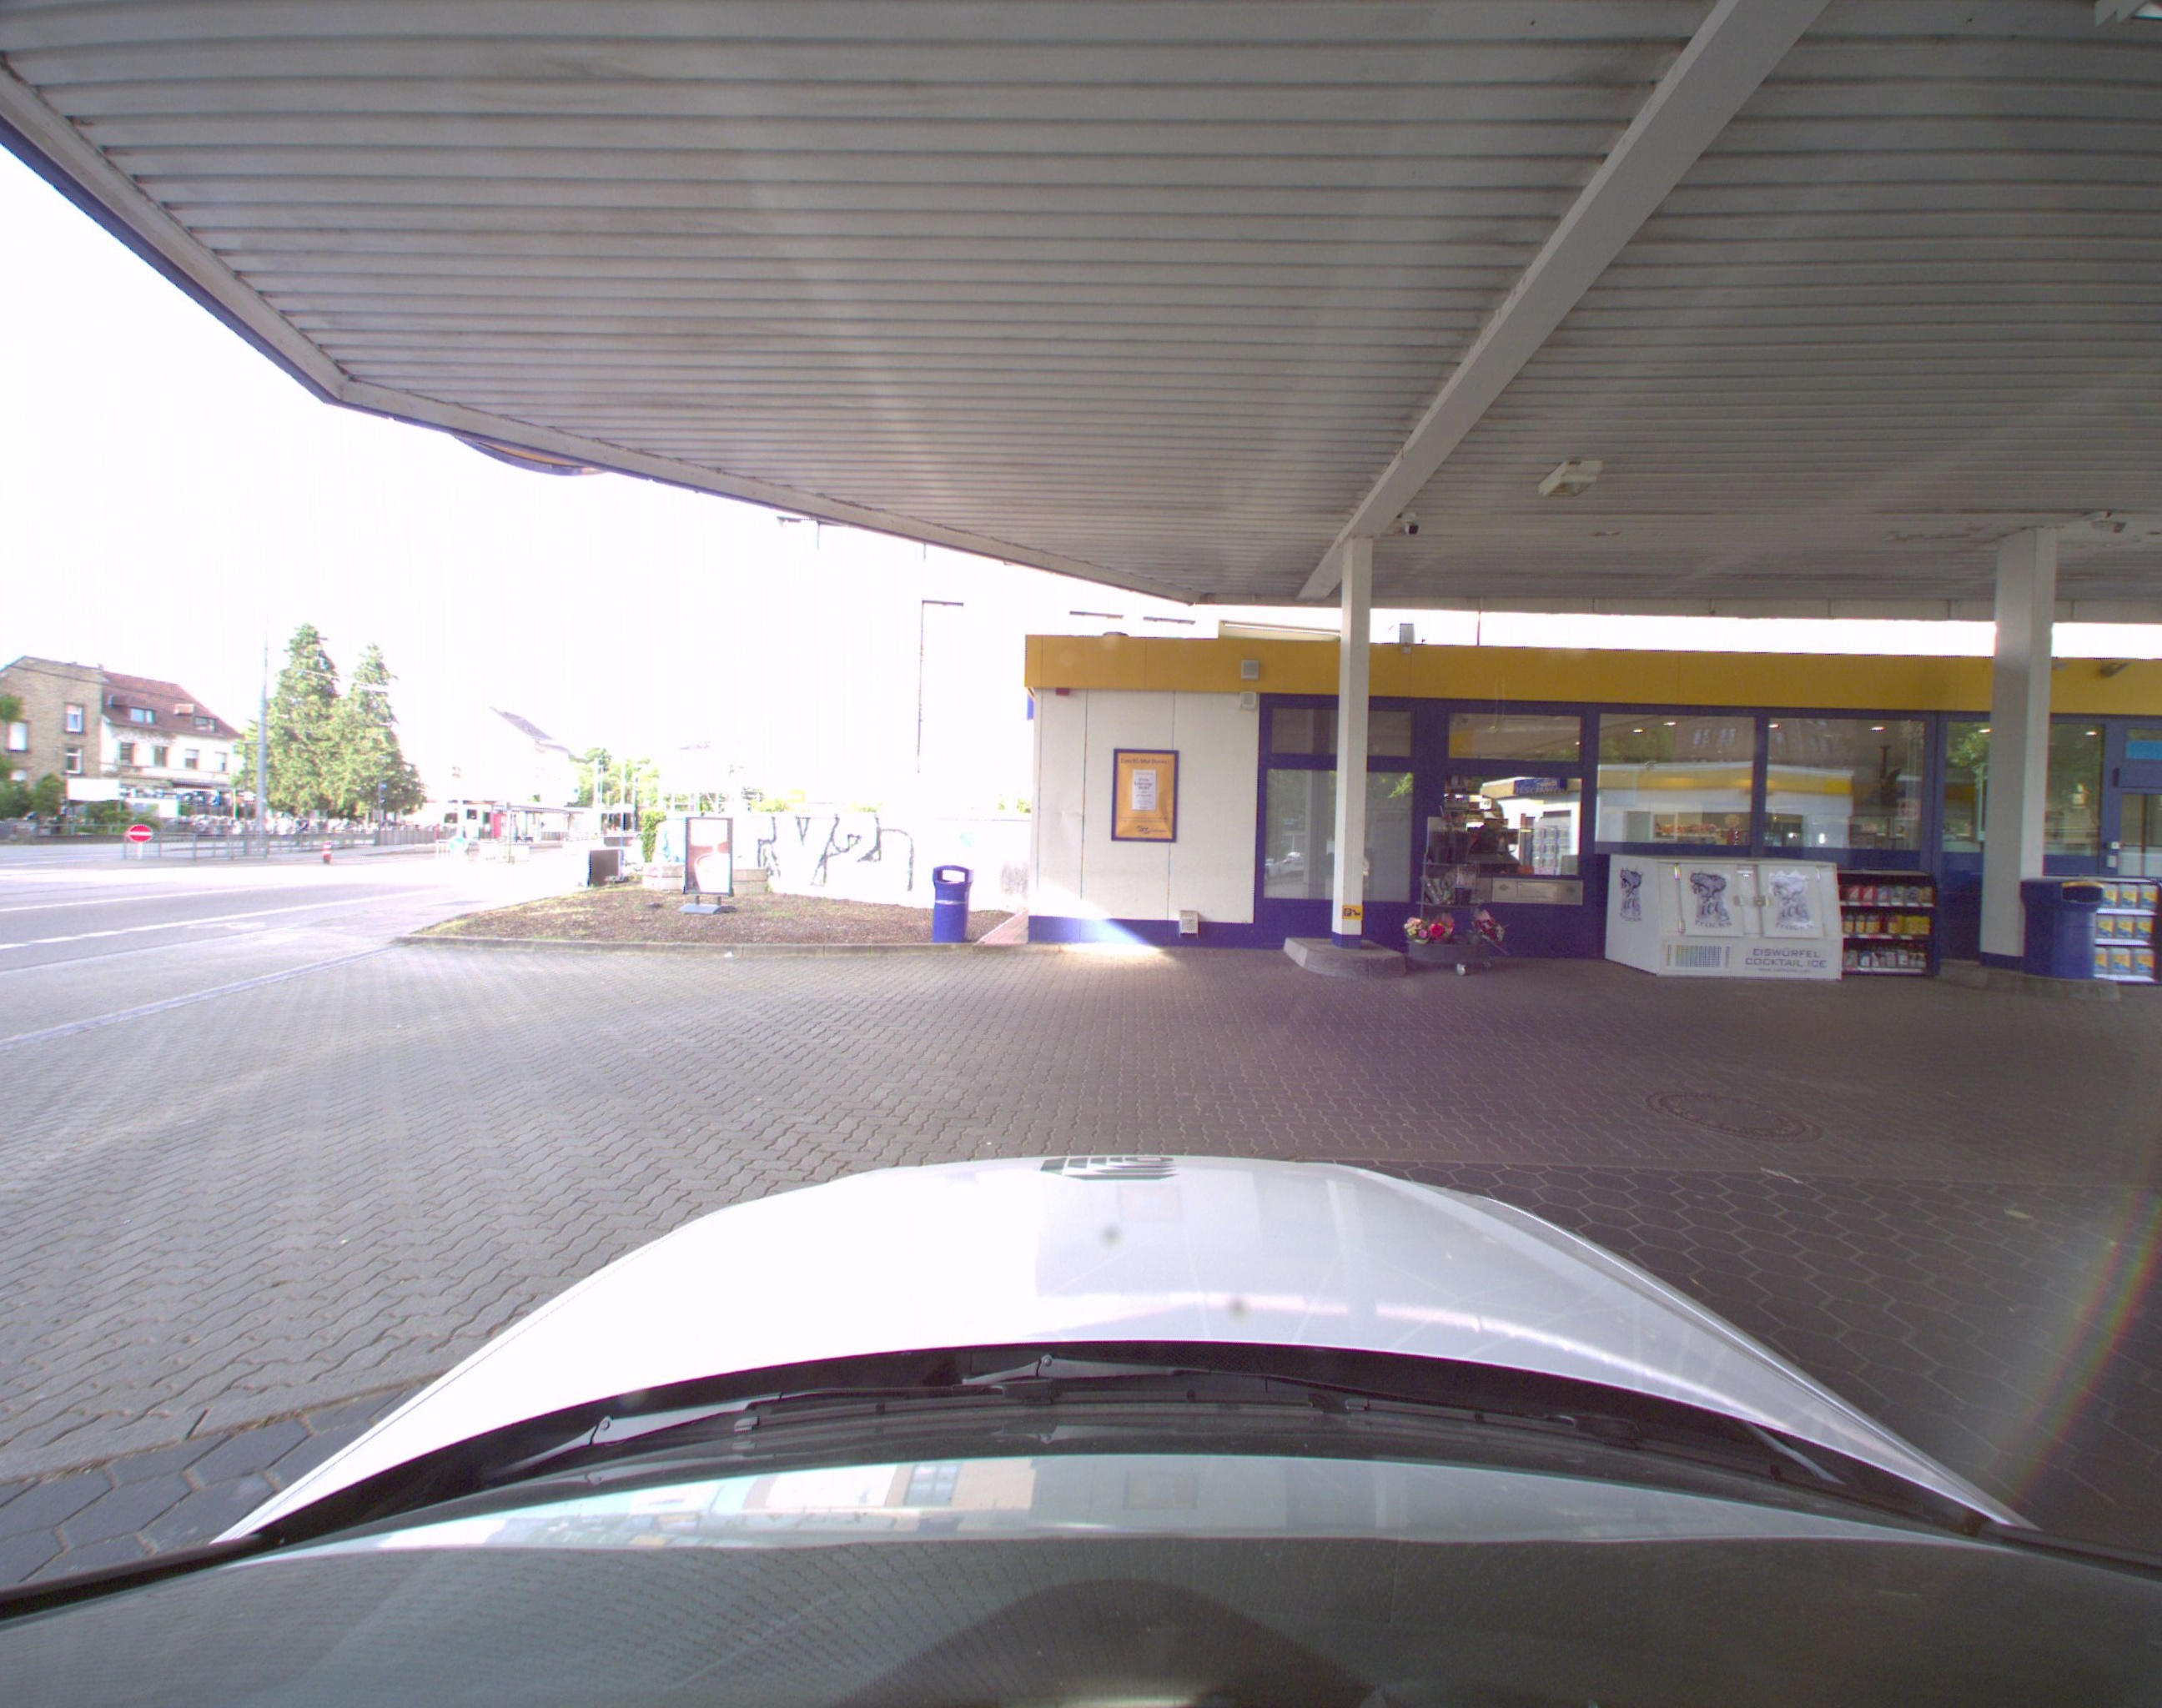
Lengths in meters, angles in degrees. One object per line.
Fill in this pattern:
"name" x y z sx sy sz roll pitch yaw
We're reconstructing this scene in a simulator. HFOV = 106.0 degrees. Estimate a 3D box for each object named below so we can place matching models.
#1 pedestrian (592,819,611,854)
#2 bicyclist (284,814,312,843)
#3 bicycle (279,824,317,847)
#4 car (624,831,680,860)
"pedestrian" -28.638 -1.039 48.653 0.808 2.014 0.845 0 -1 -17
"bicyclist" -42.656 -1.391 44.387 0.680 1.534 1.079 0 1 -17
"bicycle" -42.652 -1.019 44.392 0.680 1.222 1.908 0 1 -17
"car" -23.936 -0.499 45.575 1.751 1.468 4.548 2 1 -15
